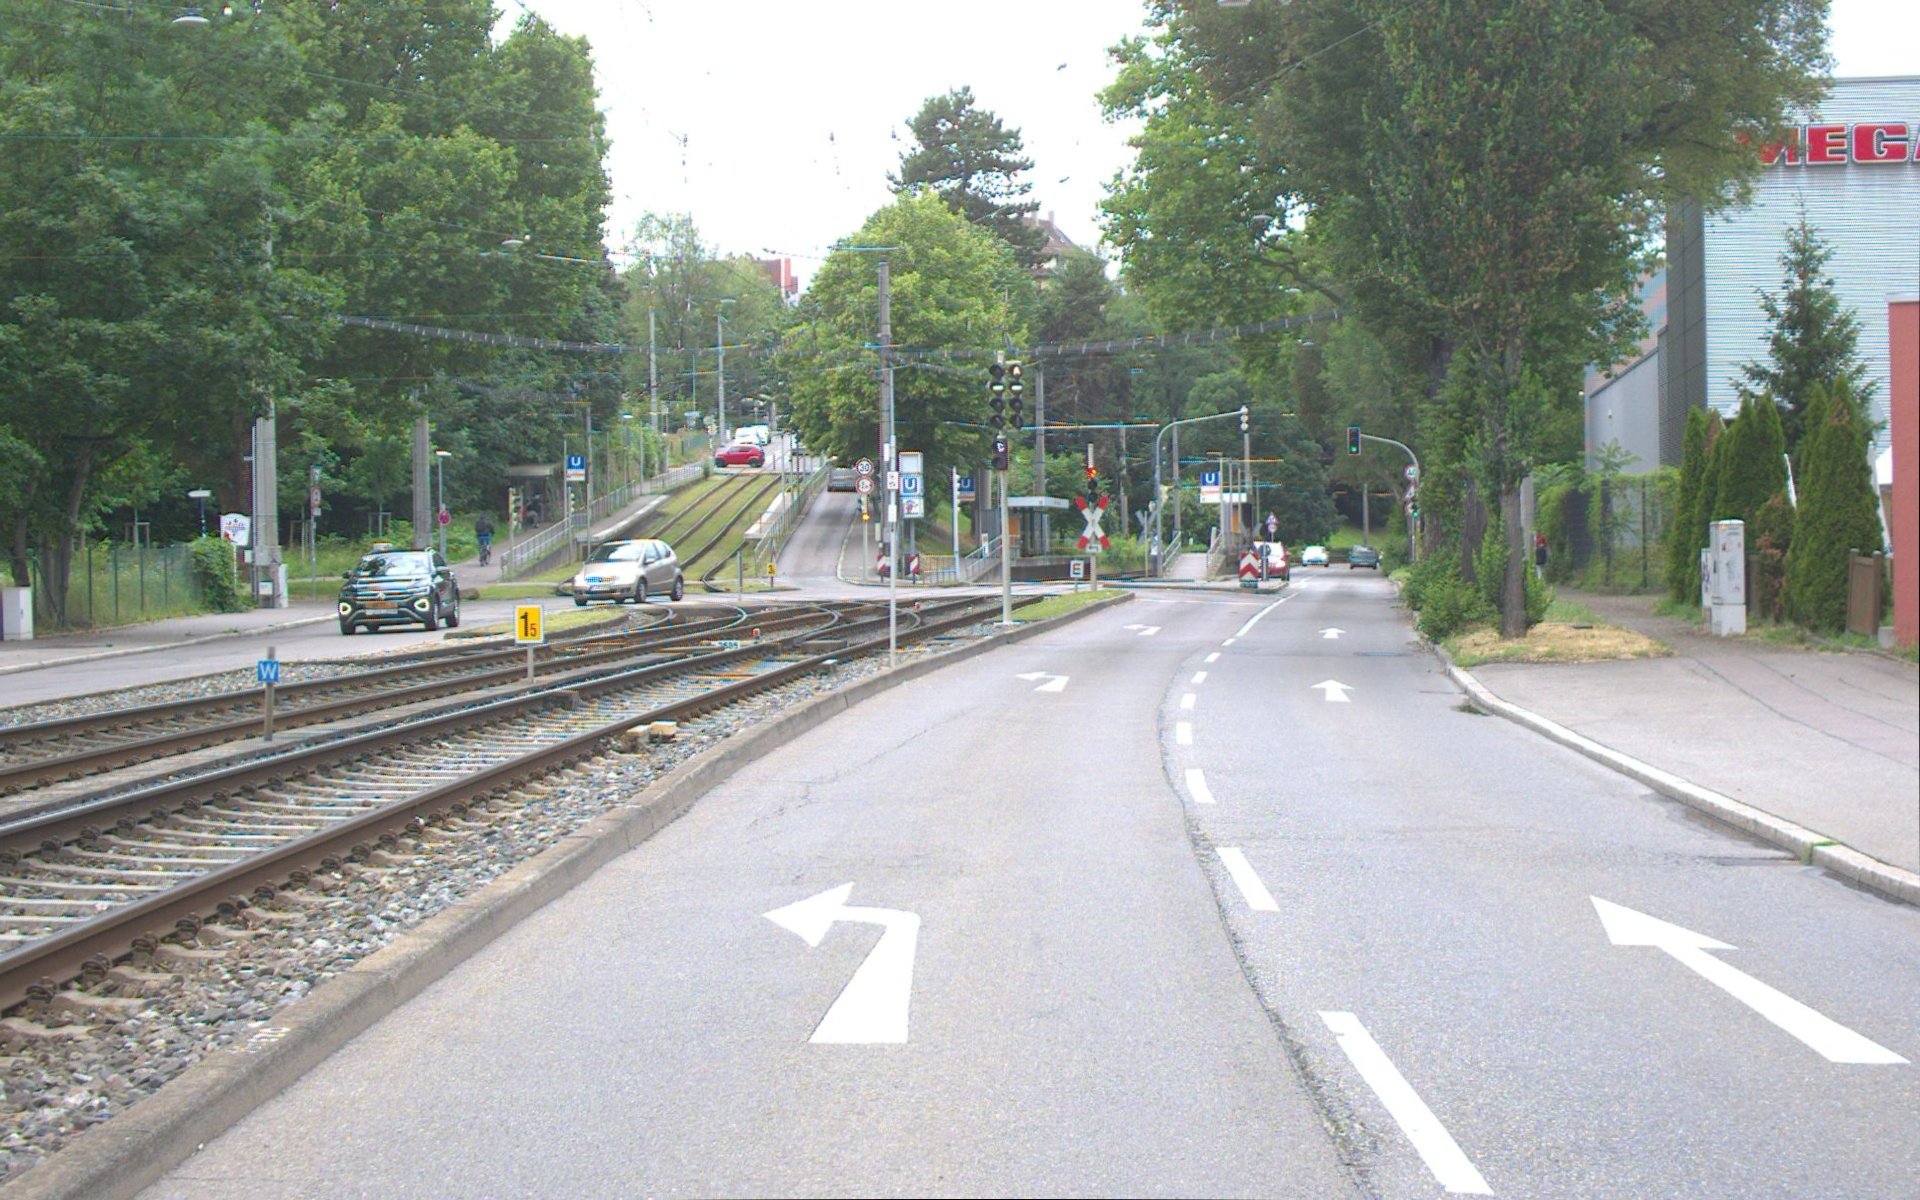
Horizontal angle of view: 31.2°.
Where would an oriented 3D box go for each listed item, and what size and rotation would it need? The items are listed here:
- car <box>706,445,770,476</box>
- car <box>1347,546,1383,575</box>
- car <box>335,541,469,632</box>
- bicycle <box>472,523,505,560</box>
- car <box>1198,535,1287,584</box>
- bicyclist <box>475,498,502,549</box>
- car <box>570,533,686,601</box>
[{"bbox_3d":[-15.349,-9.661,237.953,3.989,2.007,1.999,-1,1,12],"label":"car"},{"bbox_3d":[25.777,-2.506,218.835,1.994,1.809,4.000,-1,1,3],"label":"car"},{"bbox_3d":[-10.451,-0.281,64.600,1.687,1.526,4.256,-4,1,1],"label":"car"},{"bbox_3d":[-17.332,-2.157,126.439,0.824,1.339,2.997,-1,1,-1],"label":"bicycle"},{"bbox_3d":[8.977,-1.296,109.017,1.995,1.510,4.497,0,1,16],"label":"car"},{"bbox_3d":[-17.319,-2.814,126.220,0.821,1.843,1.052,-1,1,-1],"label":"bicyclist"},{"bbox_3d":[-8.299,-0.850,86.346,1.891,1.526,4.255,-4,1,8],"label":"car"}]
